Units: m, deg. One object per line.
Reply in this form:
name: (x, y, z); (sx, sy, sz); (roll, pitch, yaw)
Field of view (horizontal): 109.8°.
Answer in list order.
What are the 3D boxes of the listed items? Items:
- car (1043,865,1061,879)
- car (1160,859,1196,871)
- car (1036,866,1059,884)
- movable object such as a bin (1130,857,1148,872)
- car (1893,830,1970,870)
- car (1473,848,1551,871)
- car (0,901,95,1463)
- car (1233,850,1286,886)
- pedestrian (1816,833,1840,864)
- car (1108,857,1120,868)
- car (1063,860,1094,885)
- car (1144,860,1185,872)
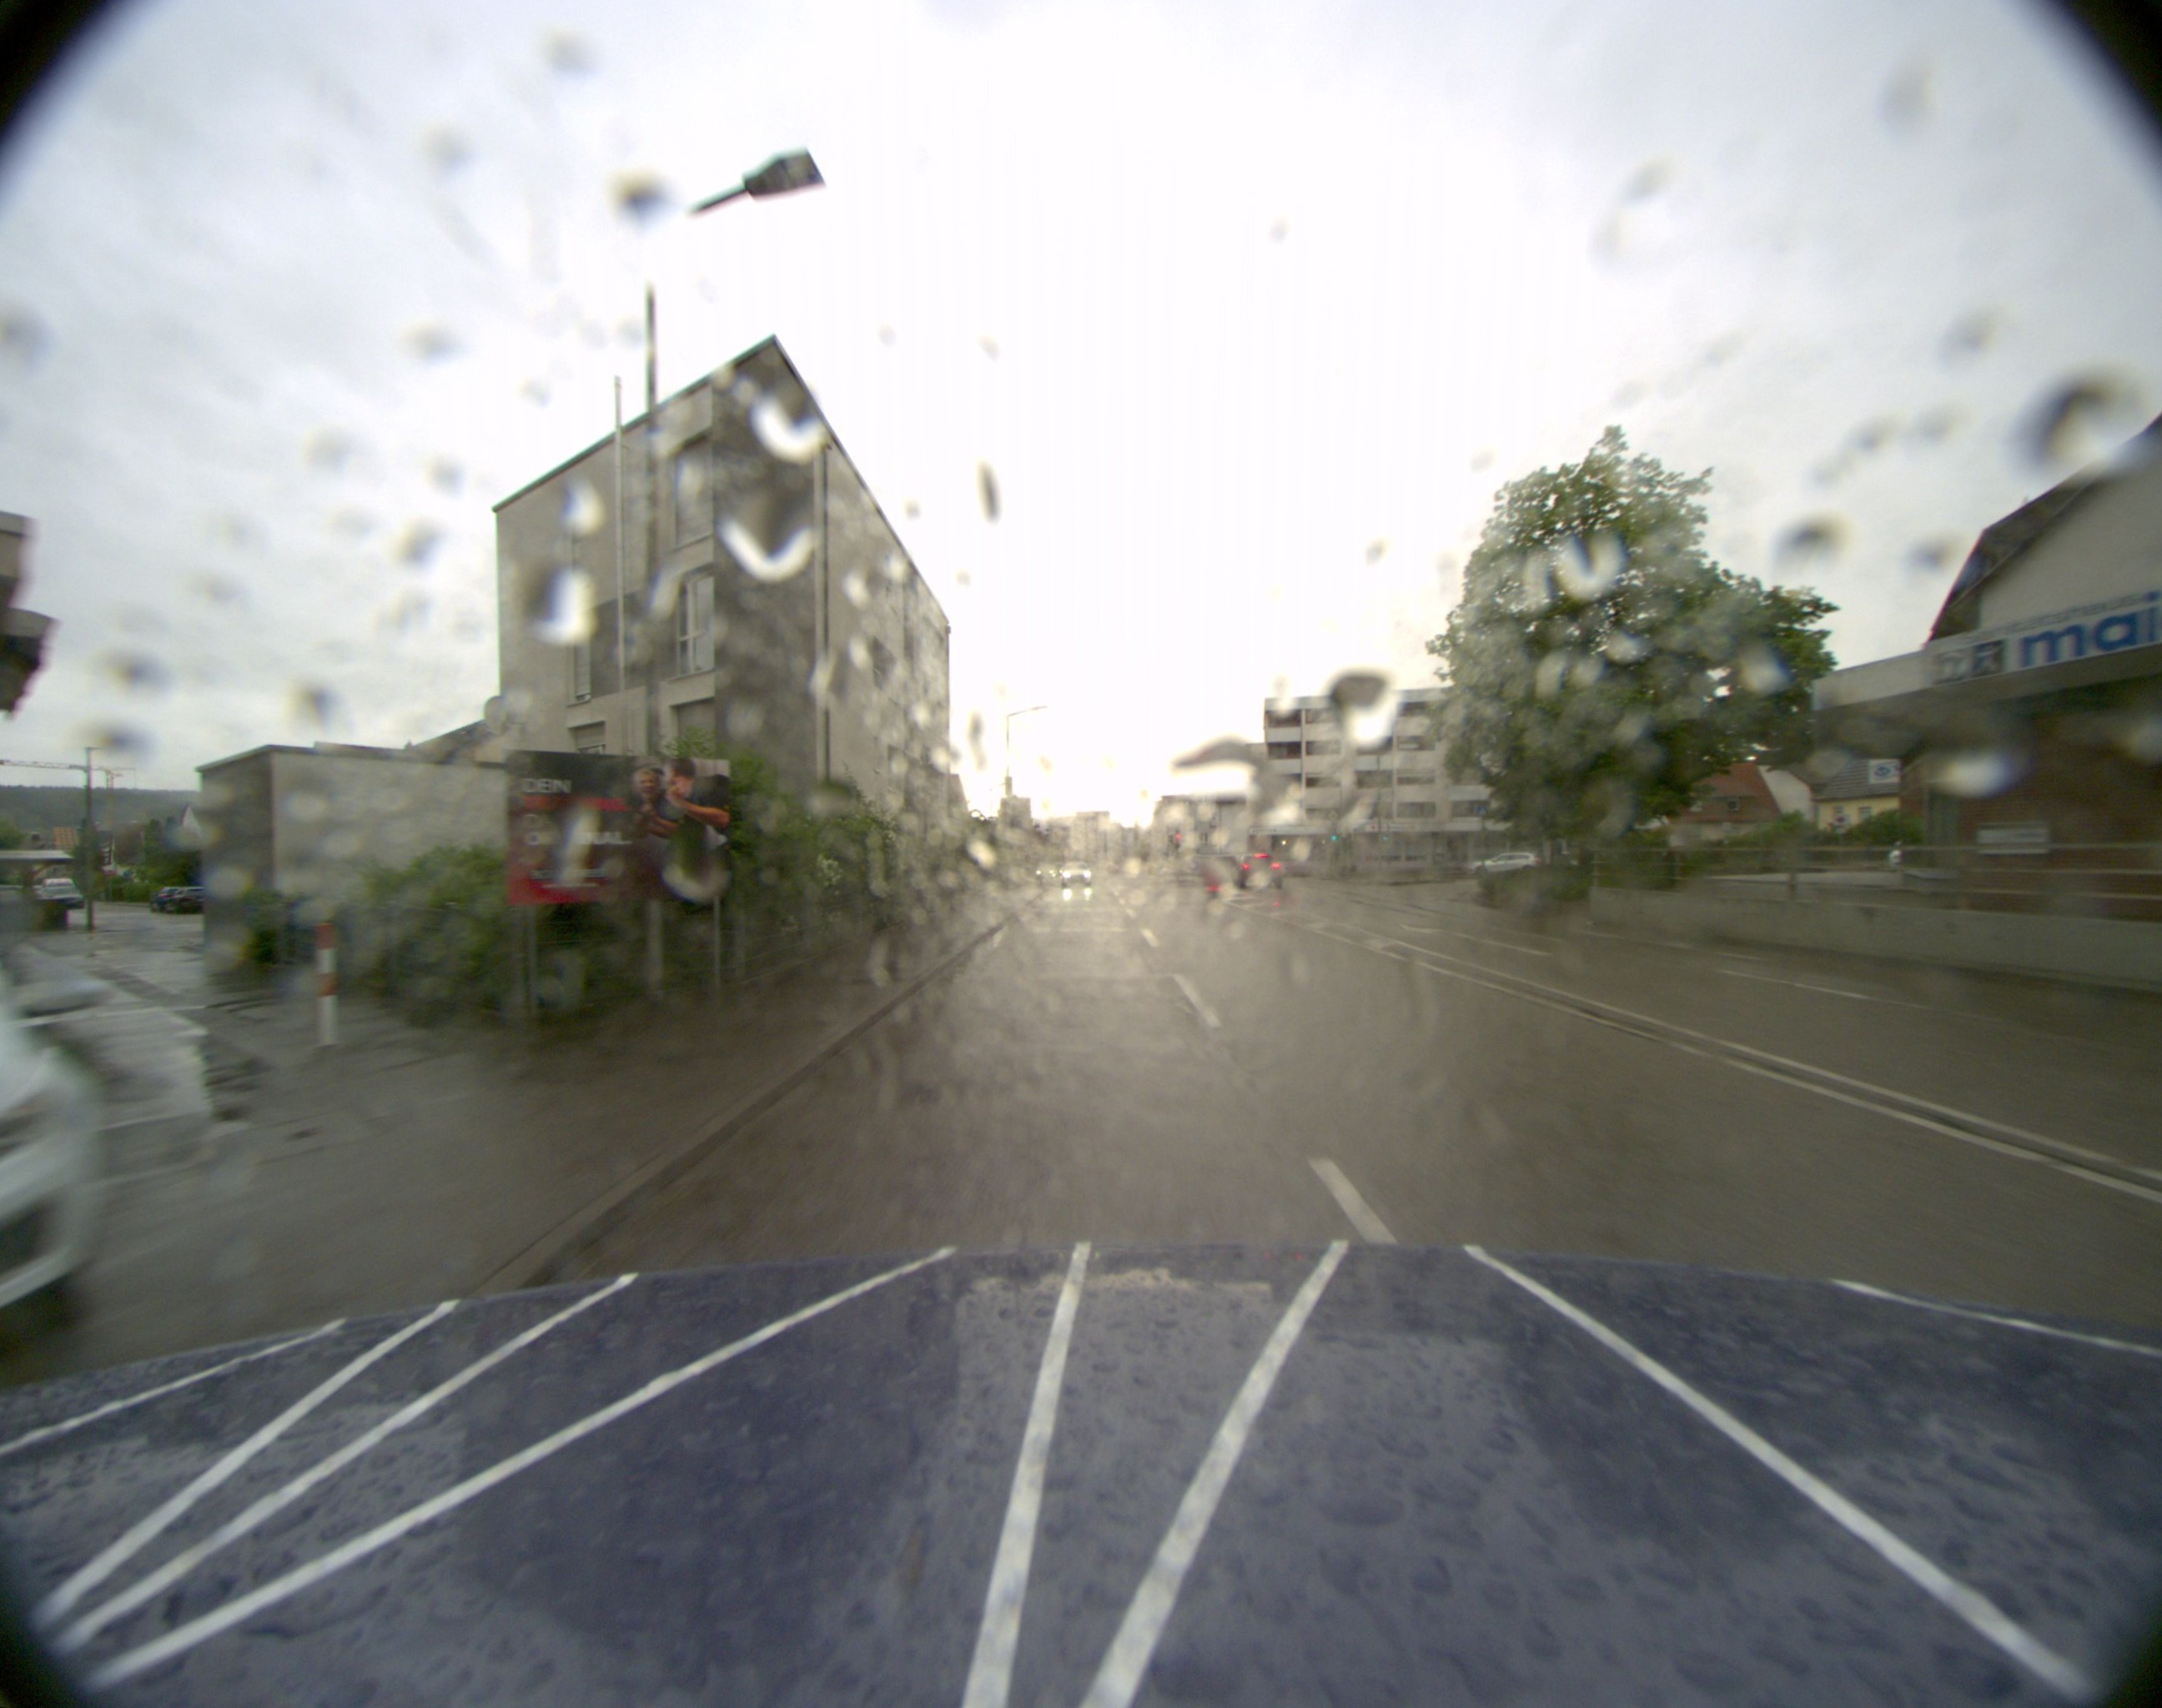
car: (-3.968, 2.463, 103.177); (2.000, 1.849, 3.997); (1, 0, -9)
car: (13.208, 1.514, 103.676); (4.622, 1.487, 1.930); (-1, 0, 4)
car: (-3.588, 2.228, 81.117); (2.000, 1.849, 3.997); (1, 0, -9)
movable object such as a bin: (10.927, 1.939, 143.164); (2.922, 2.824, 2.200); (-1, -1, 17)
car: (34.705, -0.145, 31.042); (4.008, 1.517, 1.995); (-1, 0, -42)
car: (28.078, 0.356, 49.543); (4.276, 1.426, 1.838); (-2, 0, 33)
car: (-5.138, 0.926, 2.406); (4.260, 1.485, 1.877); (-2, -1, 30)
car: (8.414, 0.649, 36.159); (1.806, 1.547, 4.320); (-1, -1, 5)
pedestrian: (46.403, -0.332, 47.210); (0.723, 1.846, 0.850); (-1, 0, 13)
car: (6.057, 1.580, 139.814); (1.999, 2.001, 4.652); (-1, -1, -1)
car: (-0.170, 1.084, 46.818); (1.829, 1.431, 4.345); (-2, 0, -1)
car: (11.885, 1.741, 108.290); (5.467, 1.674, 2.152); (-1, -1, 24)
